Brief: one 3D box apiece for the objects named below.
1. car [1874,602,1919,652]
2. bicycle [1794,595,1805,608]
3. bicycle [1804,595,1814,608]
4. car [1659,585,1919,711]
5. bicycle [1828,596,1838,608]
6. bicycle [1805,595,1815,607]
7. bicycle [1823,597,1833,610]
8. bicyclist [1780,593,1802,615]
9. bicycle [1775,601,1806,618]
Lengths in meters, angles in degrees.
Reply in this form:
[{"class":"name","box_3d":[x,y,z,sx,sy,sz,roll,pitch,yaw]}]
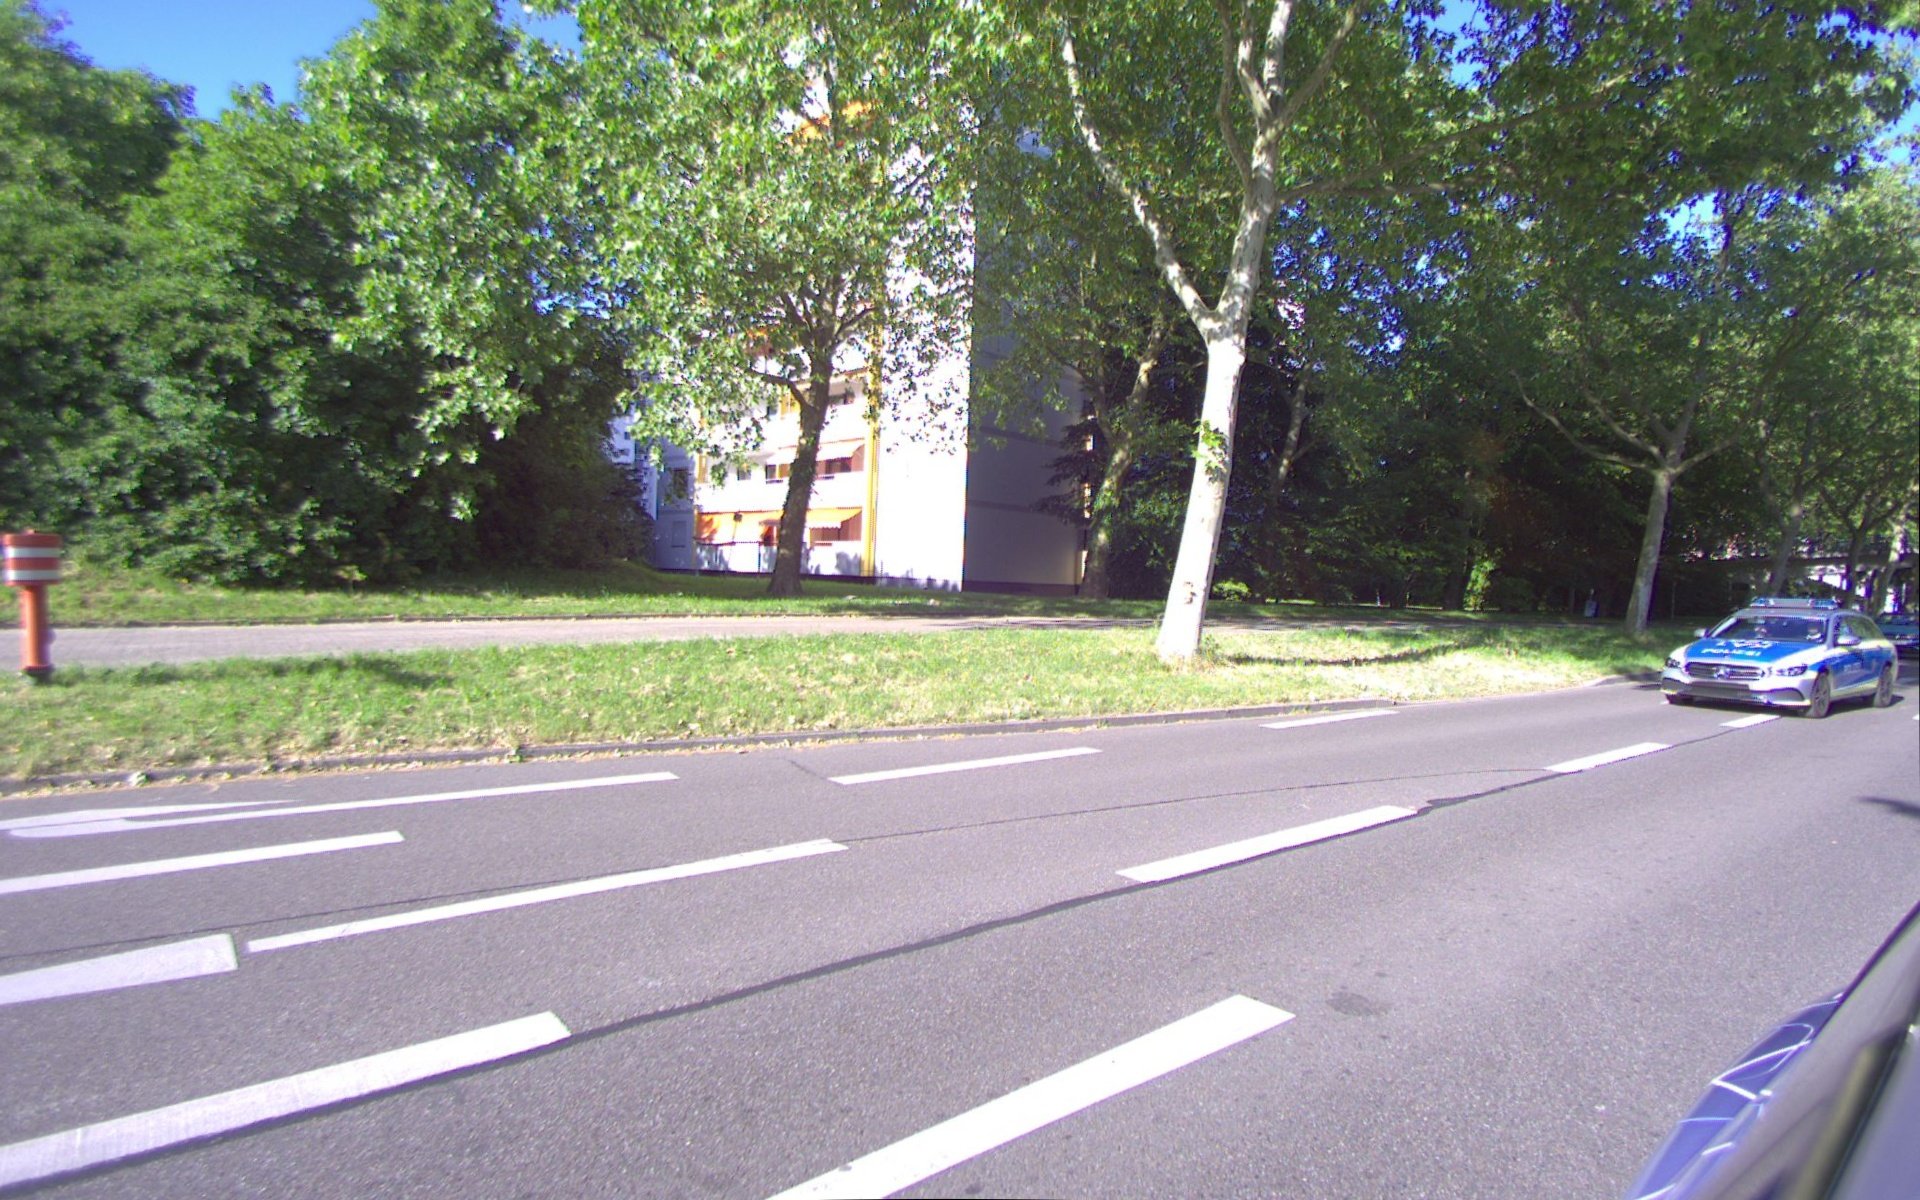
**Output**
[{"class":"car","box_3d":[30.711,0.857,32.274,4.027,1.502,1.779,1,0,-40]},{"class":"bicycle","box_3d":[81.735,0.131,98.575,1.775,1.269,0.576,0,0,-42]},{"class":"bicycle","box_3d":[86.110,0.119,102.642,1.775,1.269,0.576,0,0,-42]},{"class":"car","box_3d":[12.696,0.650,15.394,4.414,1.653,1.900,1,0,-34]},{"class":"bicycle","box_3d":[91.603,0.215,106.188,1.775,1.269,0.576,0,0,-42]},{"class":"bicycle","box_3d":[89.062,0.115,106.012,1.775,1.269,0.576,0,0,-42]},{"class":"bicycle","box_3d":[88.146,0.342,102.803,1.775,1.269,0.576,0,0,-42]},{"class":"bicyclist","box_3d":[66.275,0.317,80.684,0.799,1.652,0.958,3,2,-4]},{"class":"bicycle","box_3d":[66.246,0.768,80.748,0.799,1.161,1.839,3,2,-4]}]
